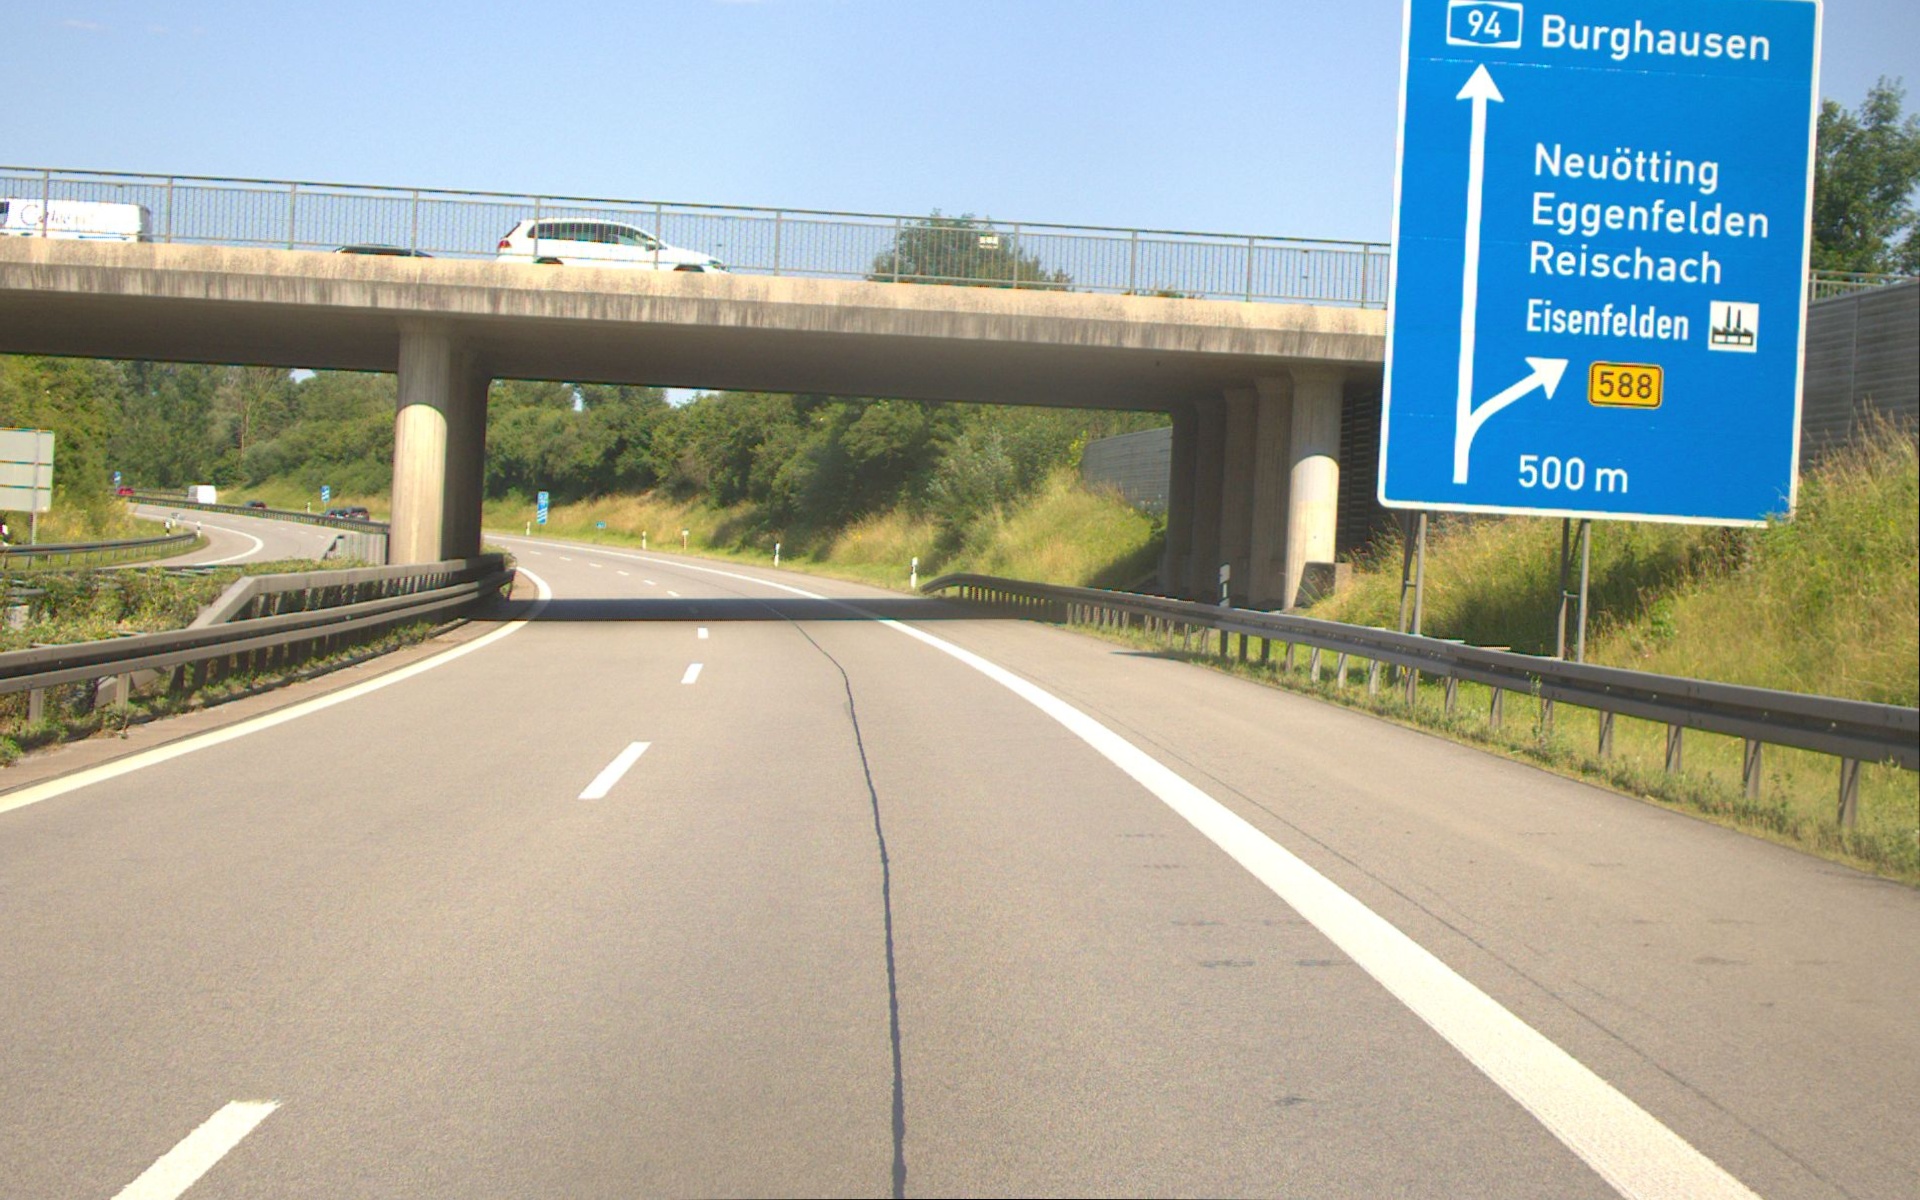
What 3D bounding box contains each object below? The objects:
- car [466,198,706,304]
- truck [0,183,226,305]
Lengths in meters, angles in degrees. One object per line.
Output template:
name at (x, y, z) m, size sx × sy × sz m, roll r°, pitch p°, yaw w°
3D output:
car at (-7.064, -6.616, 65.298) m, size 4.400 × 1.592 × 2.000 m, roll 3°, pitch 0°, yaw -5°
truck at (-17.571, -7.255, 70.185) m, size 4.855 × 2.160 × 2.000 m, roll 1°, pitch 0°, yaw -7°
